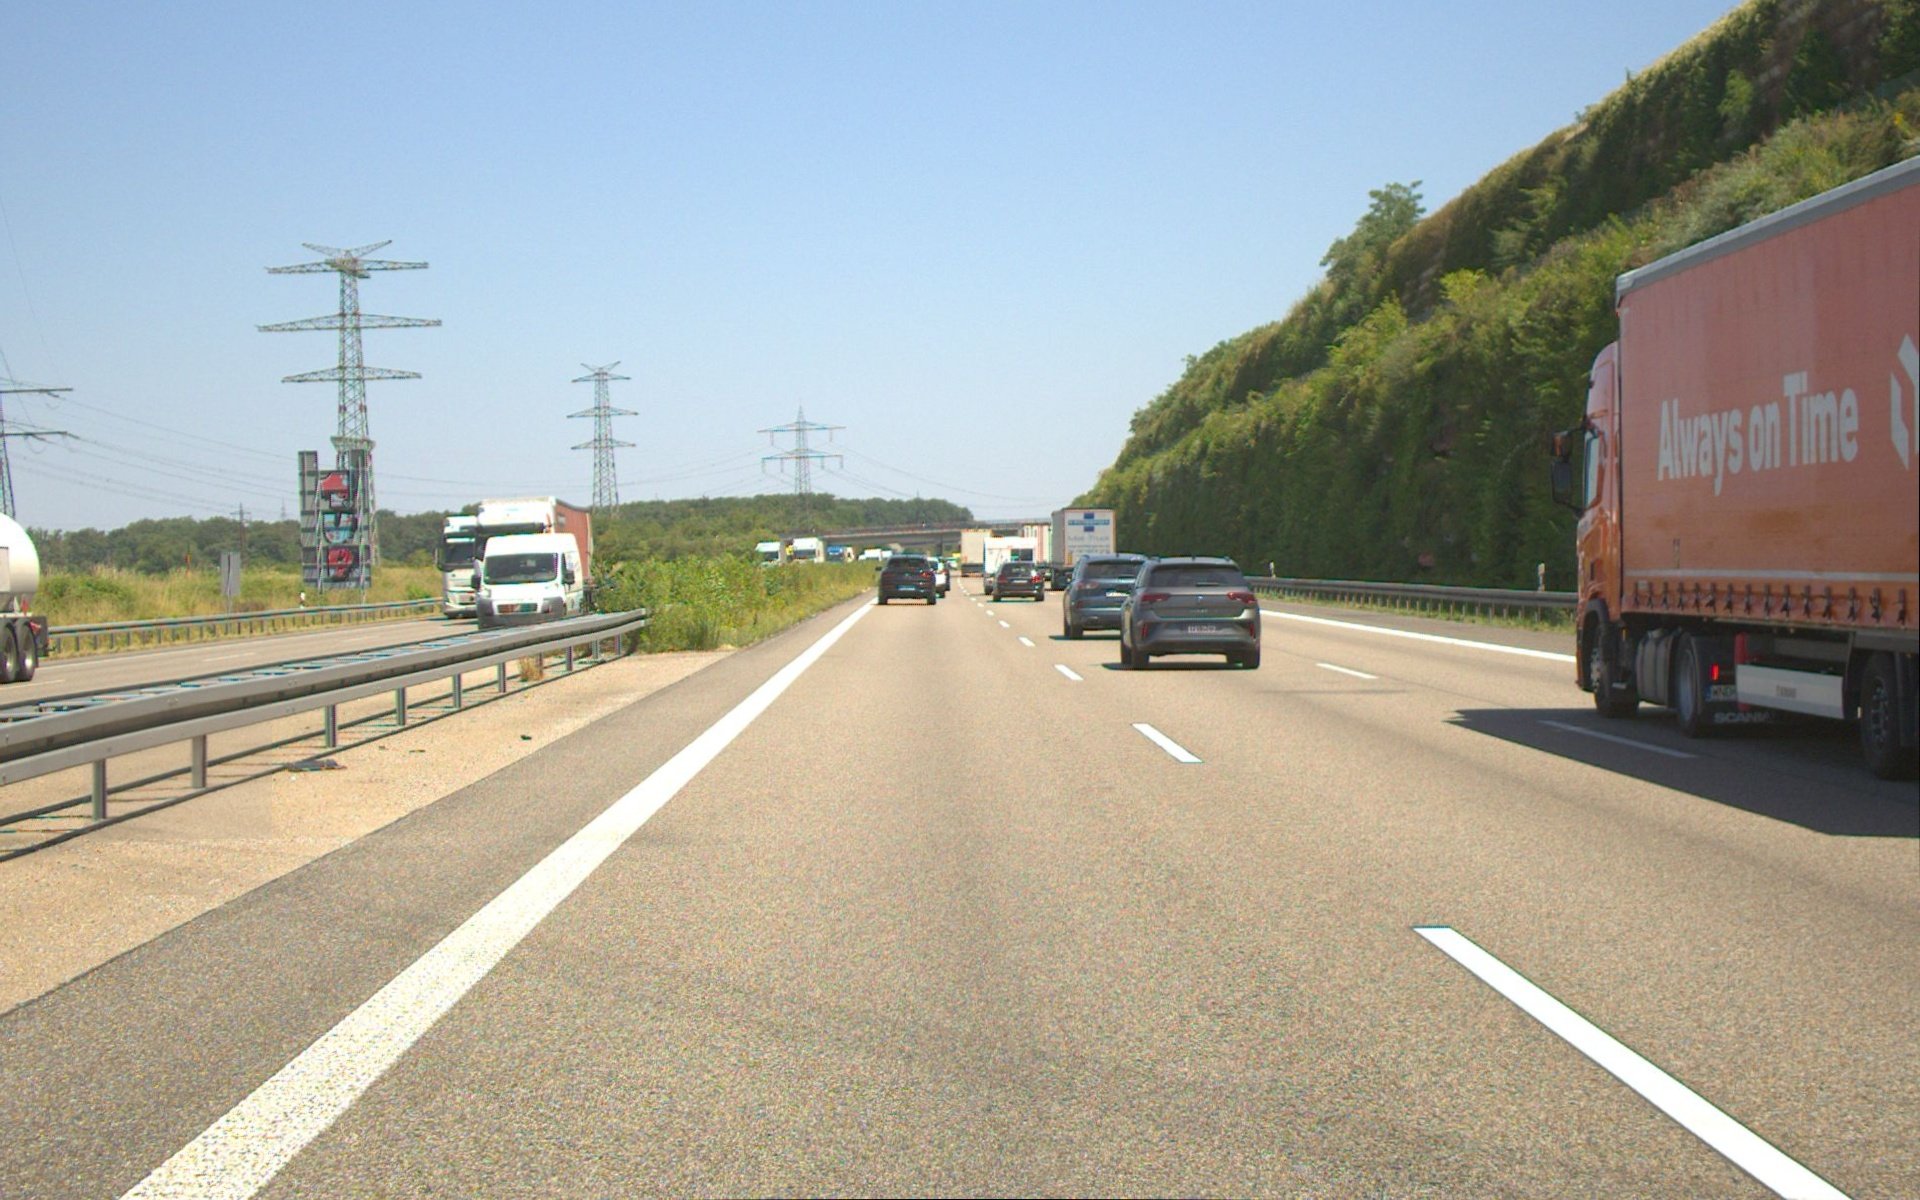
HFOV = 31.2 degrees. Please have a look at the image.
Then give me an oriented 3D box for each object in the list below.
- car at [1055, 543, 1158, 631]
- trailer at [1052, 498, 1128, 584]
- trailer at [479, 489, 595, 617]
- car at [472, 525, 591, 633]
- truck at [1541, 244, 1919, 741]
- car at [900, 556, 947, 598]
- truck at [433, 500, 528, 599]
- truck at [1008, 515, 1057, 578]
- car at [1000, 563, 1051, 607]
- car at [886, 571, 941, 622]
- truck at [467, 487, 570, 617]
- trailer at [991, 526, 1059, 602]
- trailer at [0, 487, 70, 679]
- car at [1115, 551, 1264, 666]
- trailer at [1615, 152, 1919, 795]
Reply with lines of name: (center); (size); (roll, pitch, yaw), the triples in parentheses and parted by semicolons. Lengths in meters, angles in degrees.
car: (2.818, -0.268, 66.963); (1.794, 1.647, 4.138); (-1, 1, 0)
trailer: (6.475, -2.938, 173.291); (3.183, 4.107, 13.432); (-1, 1, 0)
trailer: (-14.981, -1.688, 122.810); (2.591, 4.223, 14.330); (-2, 1, -1)
car: (-10.288, -0.531, 82.999); (1.993, 2.429, 6.030); (-2, 1, 0)
truck: (7.155, -0.919, 31.001); (2.618, 3.979, 6.527); (-1, 1, -1)
car: (-1.504, -0.953, 140.945); (1.830, 1.665, 4.000); (-2, 1, -1)
truck: (-18.960, -2.012, 136.268); (2.835, 3.738, 6.850); (-2, 1, -2)
truck: (5.076, -3.782, 242.677); (3.119, 4.265, 11.934); (-1, 1, 0)
car: (2.414, -0.566, 127.473); (1.830, 1.520, 4.000); (-2, 1, 0)
car: (-1.595, -0.130, 119.318); (1.830, 1.665, 4.000); (-2, 1, -1)
truck: (-14.886, -1.610, 116.222); (2.600, 4.197, 5.909); (-2, 1, 0)
trailer: (2.856, -1.611, 153.872); (2.610, 3.202, 9.953); (-2, 1, -1)
trailer: (-18.027, -0.245, 58.851); (2.416, 3.360, 11.563); (-2, 1, 0)
car: (3.193, 0.093, 48.473); (1.749, 1.520, 3.995); (-1, 1, -1)
trailer: (7.253, -0.826, 23.902); (2.645, 3.991, 13.607); (0, 1, -1)
